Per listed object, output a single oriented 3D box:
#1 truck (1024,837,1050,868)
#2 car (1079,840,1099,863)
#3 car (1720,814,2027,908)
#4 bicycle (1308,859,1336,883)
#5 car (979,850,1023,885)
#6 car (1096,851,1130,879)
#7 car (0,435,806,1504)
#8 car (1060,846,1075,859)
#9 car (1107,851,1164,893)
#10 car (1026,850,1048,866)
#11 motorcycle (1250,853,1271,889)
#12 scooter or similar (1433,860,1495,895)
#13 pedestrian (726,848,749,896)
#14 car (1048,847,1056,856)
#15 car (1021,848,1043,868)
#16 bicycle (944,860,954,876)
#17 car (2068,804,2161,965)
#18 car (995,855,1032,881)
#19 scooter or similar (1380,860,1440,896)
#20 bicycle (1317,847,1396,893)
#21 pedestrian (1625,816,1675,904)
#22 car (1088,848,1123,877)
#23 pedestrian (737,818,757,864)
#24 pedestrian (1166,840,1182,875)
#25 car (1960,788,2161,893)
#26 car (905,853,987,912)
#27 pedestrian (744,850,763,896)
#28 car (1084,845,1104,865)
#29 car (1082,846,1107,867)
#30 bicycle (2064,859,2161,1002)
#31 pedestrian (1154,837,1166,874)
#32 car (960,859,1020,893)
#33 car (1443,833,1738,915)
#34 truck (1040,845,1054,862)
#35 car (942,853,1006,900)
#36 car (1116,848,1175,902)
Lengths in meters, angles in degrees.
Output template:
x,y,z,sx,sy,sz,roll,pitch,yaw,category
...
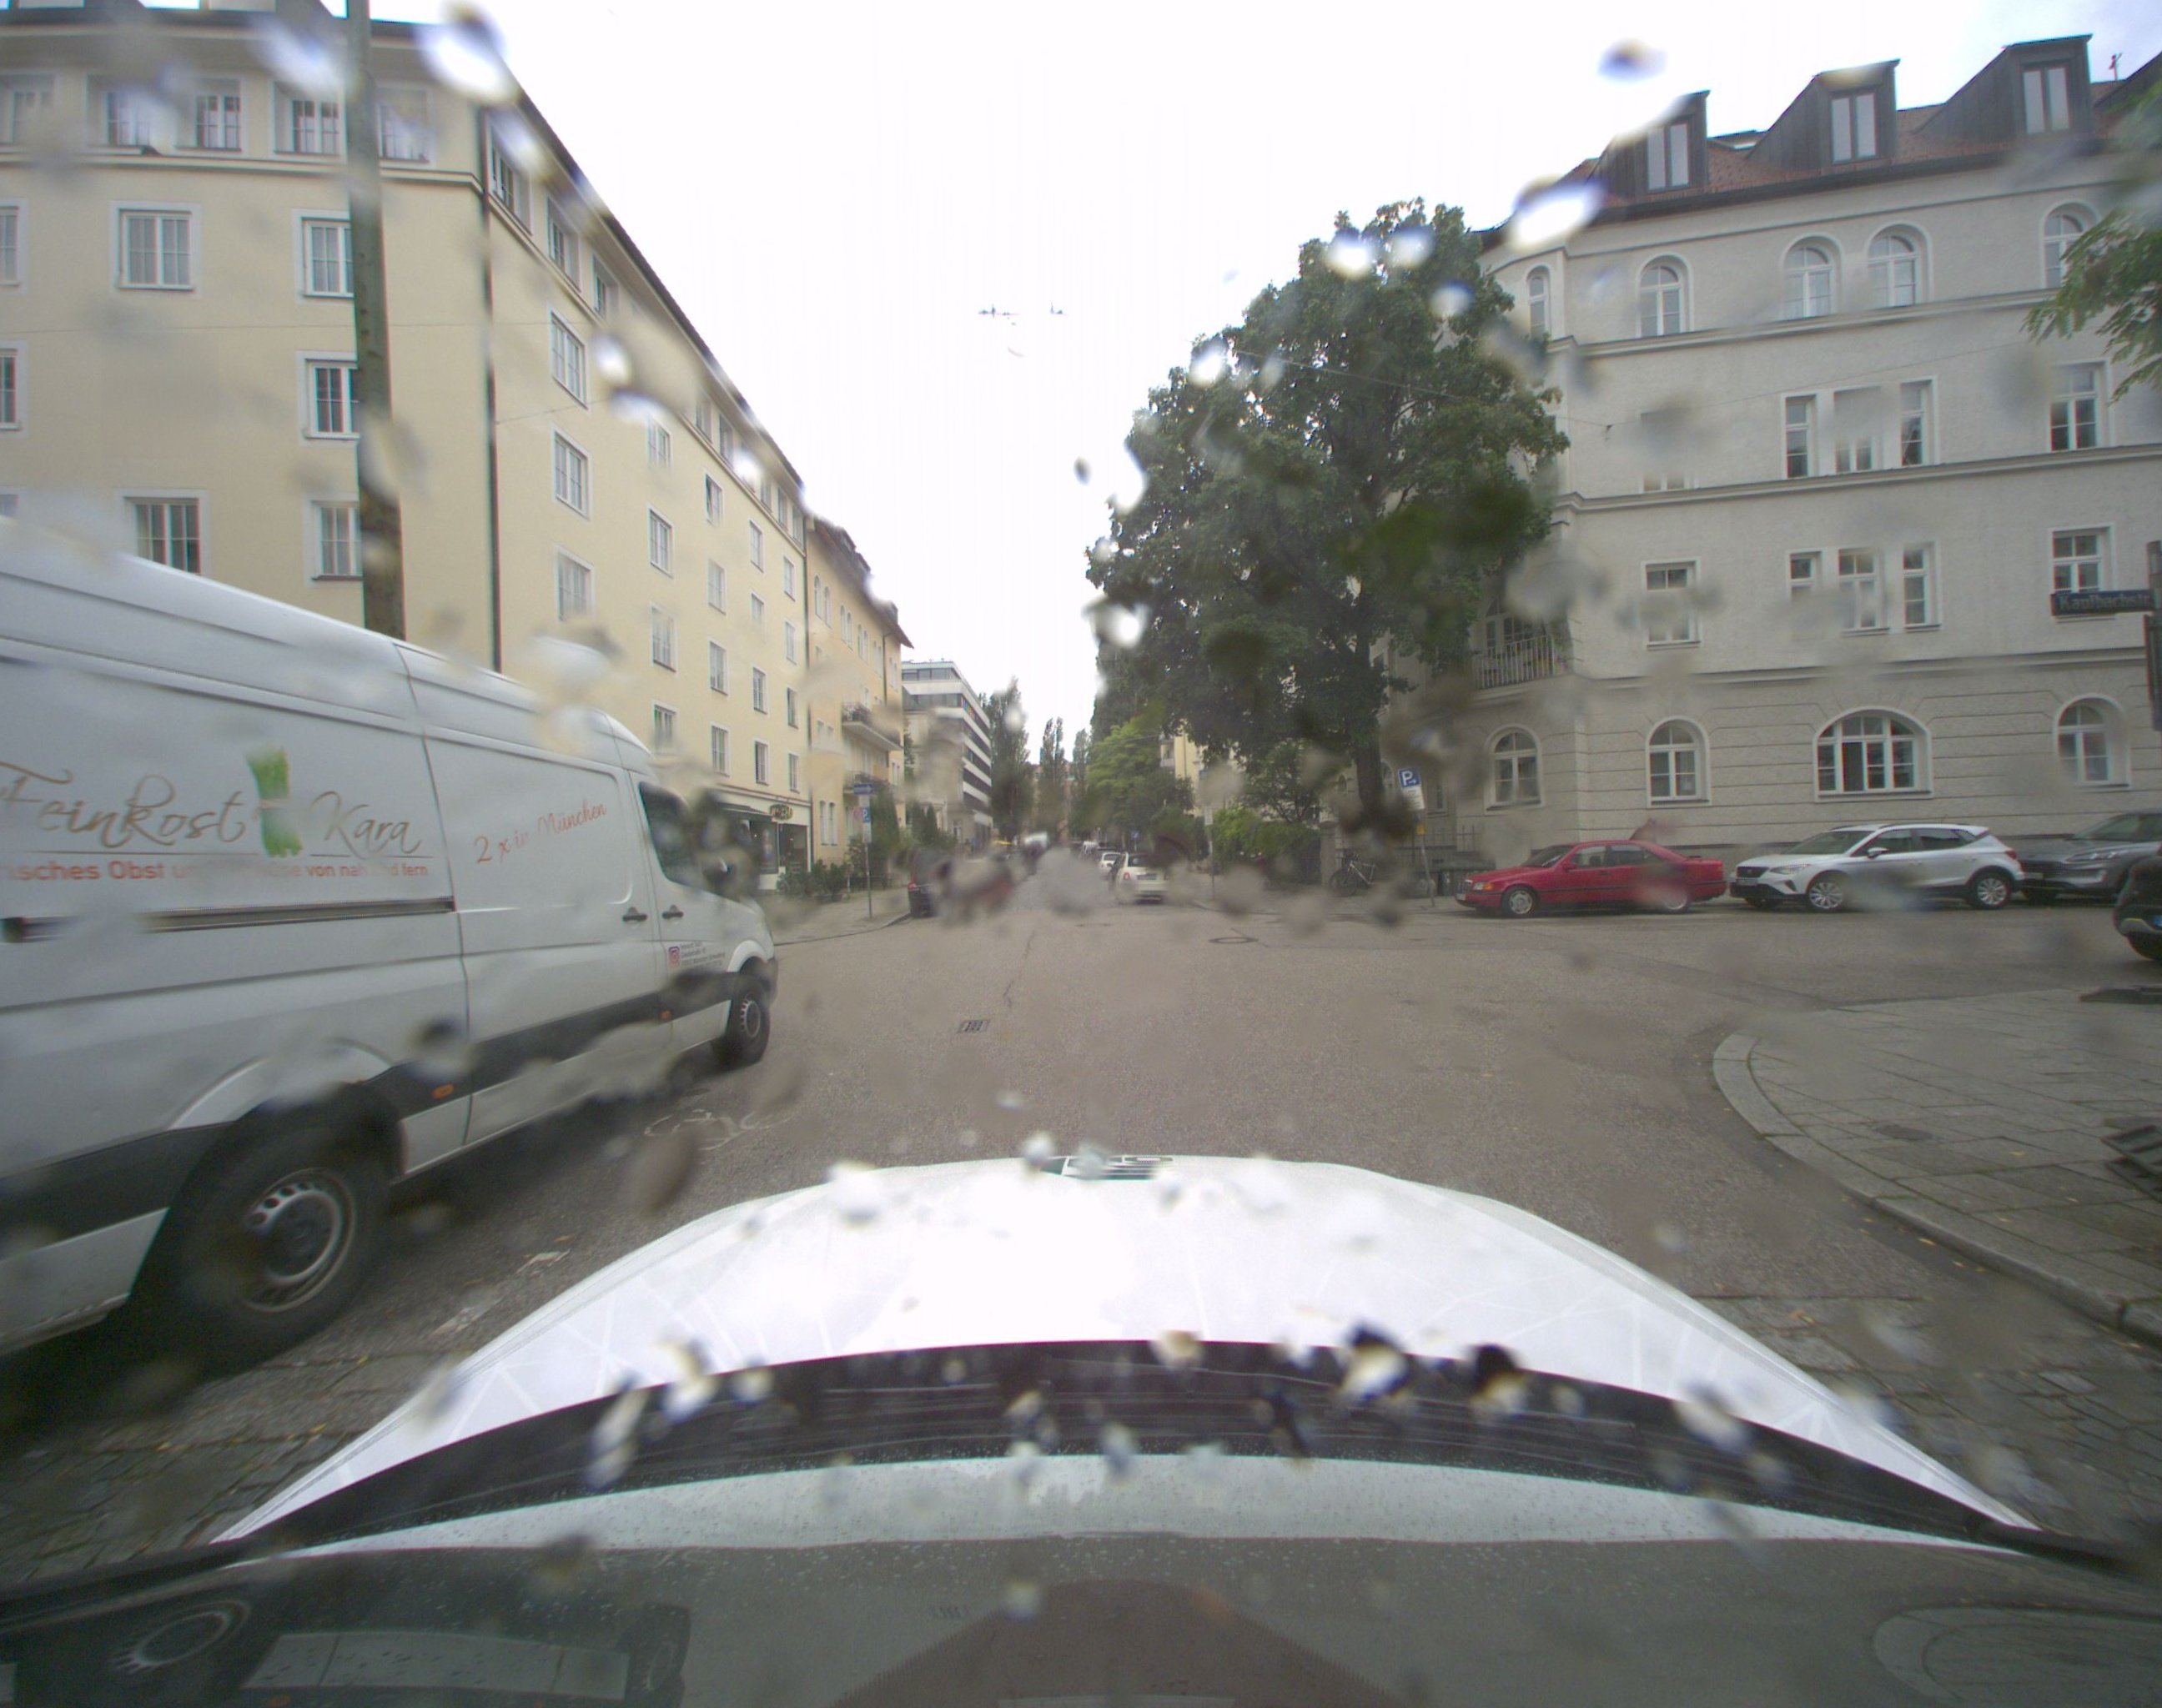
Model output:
x,y,z,sx,sy,sz,roll,pitch,yaw,category
-4.676,-0.173,88.109,2.502,3.031,6.379,-3,1,-2,truck
0.878,-0.313,89.536,1.890,2.426,5.607,2,1,-2,car
14.149,0.126,14.714,3.868,1.521,1.567,-1,0,4,car
8.765,0.596,29.685,0.489,0.812,2.275,-1,0,3,bicycle
-3.964,0.637,40.927,1.768,1.647,4.390,-1,0,0,car
1.744,0.587,45.348,1.625,1.469,3.657,1,0,-1,car
-3.554,0.307,4.365,1.970,2.574,5.795,-3,0,1,car
-2.012,-0.224,120.890,1.990,1.936,4.000,-1,0,0,car
1.990,0.630,30.841,1.644,1.422,4.628,2,0,-2,car
-4.157,0.354,76.897,1.935,1.459,4.054,-1,0,-2,car
5.607,0.533,25.456,0.361,1.090,1.404,-1,0,2,motorcycle
9.408,0.567,20.041,1.230,0.825,0.698,-1,0,8,scooter or similar
-12.115,0.627,28.713,0.520,1.642,0.629,-1,-1,-2,pedestrian
-5.024,-0.419,142.756,1.272,1.541,3.119,-1,0,1,car
-4.306,0.333,71.526,1.769,1.717,4.387,-1,0,-2,car
-8.461,0.892,52.334,0.351,1.003,1.572,-1,0,0,bicycle
12.713,0.265,7.684,4.049,1.597,1.911,-1,0,10,car
-3.863,0.773,47.193,1.768,1.429,4.389,-1,0,-1,car
8.134,0.583,20.185,1.176,0.848,0.926,-1,0,8,scooter or similar
7.131,0.416,21.129,1.827,1.124,0.564,-2,0,8,bicycle
12.462,0.128,17.850,0.493,1.876,0.741,-1,-1,-6,pedestrian
1.454,0.517,50.423,1.869,1.673,5.488,-1,0,-1,car
-12.135,-0.474,29.607,0.475,1.642,0.497,-1,-1,3,pedestrian
4.814,0.193,42.063,0.652,1.808,0.634,-1,-1,25,pedestrian
18.820,-0.286,14.362,4.301,1.711,1.757,-2,0,10,car
-3.987,0.798,24.757,1.847,1.586,4.743,-1,0,-3,car
-12.164,0.704,30.277,0.460,1.690,0.574,-1,-1,-1,pedestrian
1.277,0.099,84.091,1.795,1.949,4.857,1,0,-2,car
1.174,0.229,71.237,1.958,1.759,4.951,-1,0,-2,car
8.969,0.553,6.343,1.595,1.069,0.739,-3,-4,1,bicycle
4.038,0.081,41.628,0.572,1.850,0.683,-2,0,6,pedestrian
-3.808,0.898,34.865,1.766,1.359,4.395,-1,0,4,car
9.526,0.369,15.541,4.444,1.358,1.764,-2,0,6,car
-4.875,-0.074,117.145,1.988,2.346,4.066,-1,0,-1,truck
-3.794,0.778,29.617,1.768,1.536,4.538,-1,0,-1,car
1.893,0.601,24.772,1.497,1.471,3.795,-2,0,0,car
